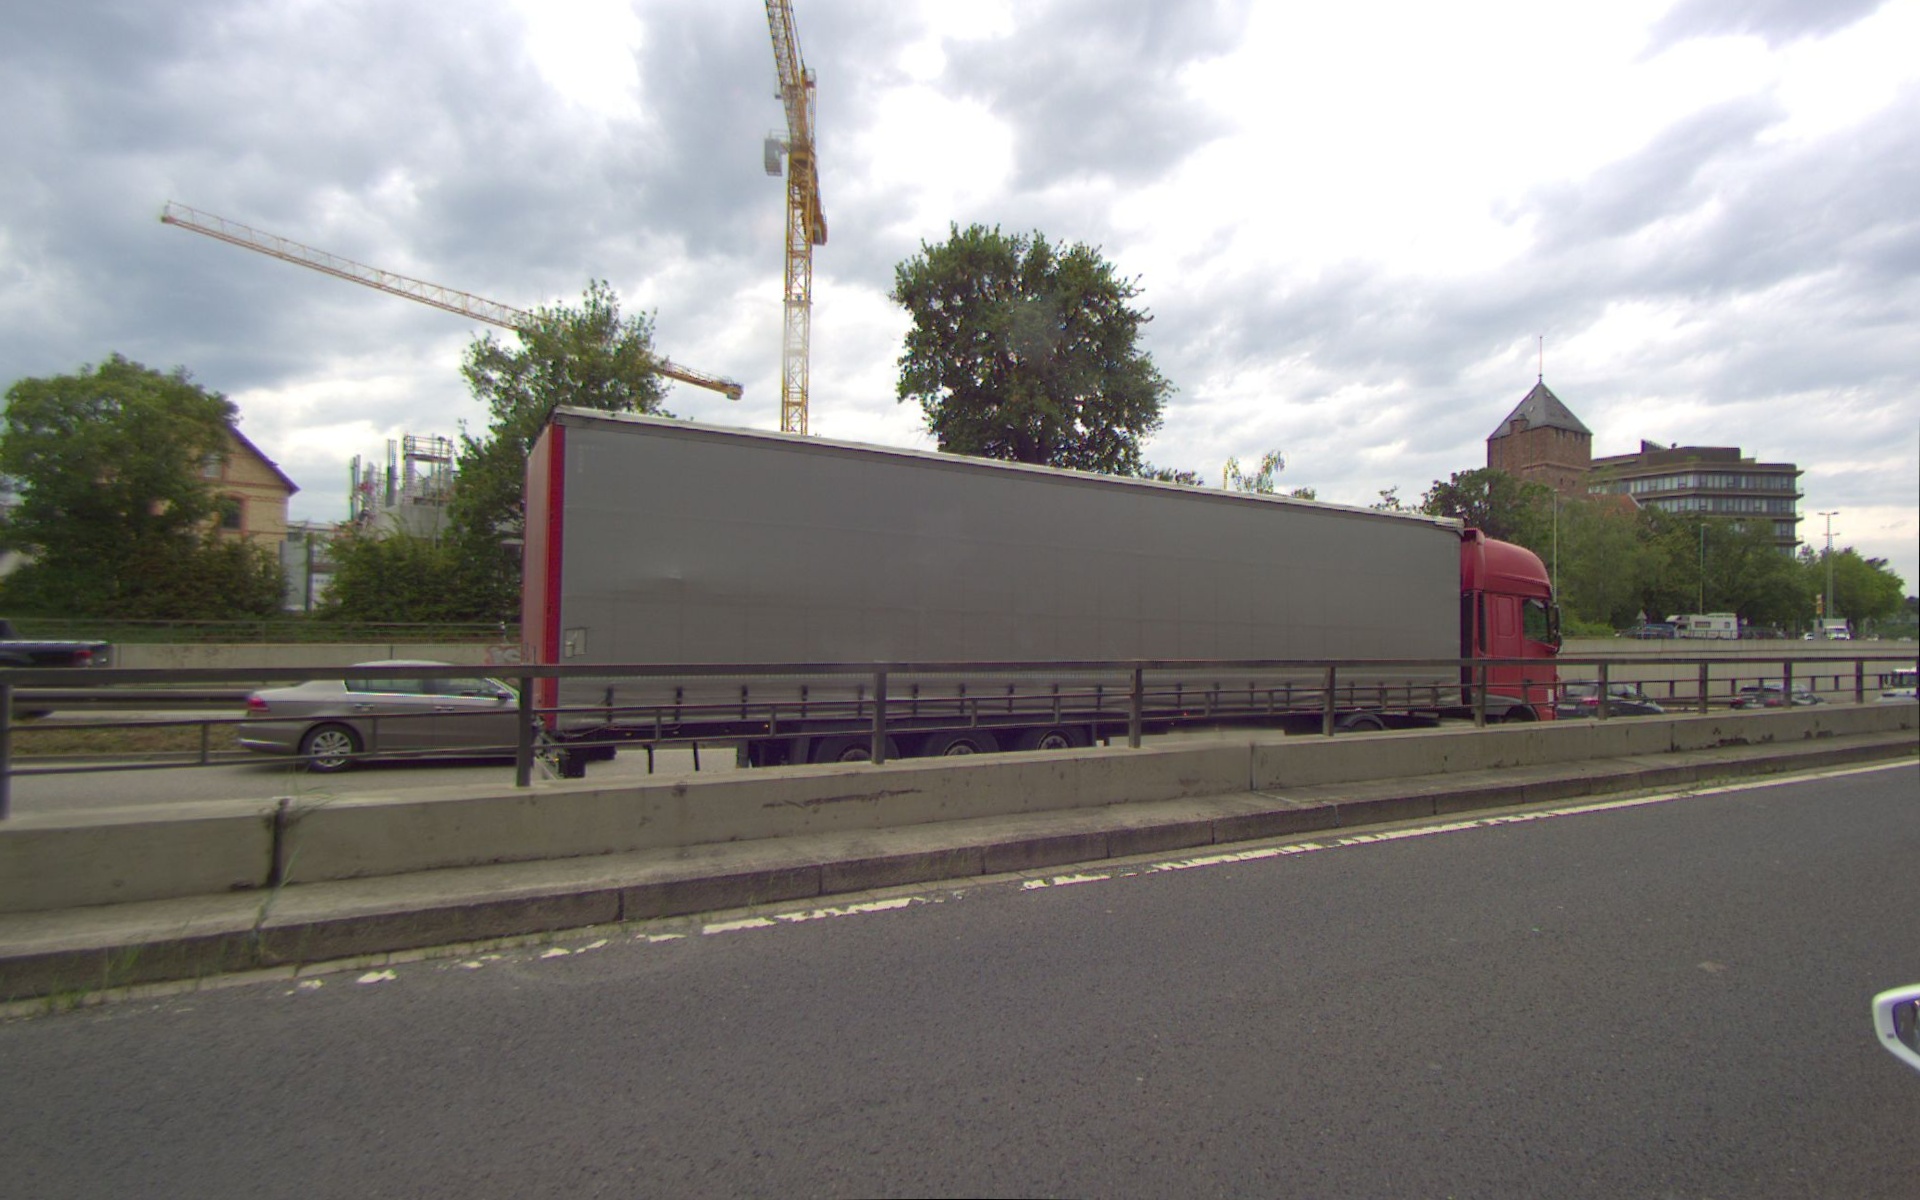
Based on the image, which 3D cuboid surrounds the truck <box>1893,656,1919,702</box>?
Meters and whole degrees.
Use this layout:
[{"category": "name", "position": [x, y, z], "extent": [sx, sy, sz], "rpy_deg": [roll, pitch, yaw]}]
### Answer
[{"category": "truck", "position": [75.263, 6.023, 77.164], "extent": [10.928, 3.396, 2.511], "rpy_deg": [2, -2, -32]}]

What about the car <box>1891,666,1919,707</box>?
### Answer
[{"category": "car", "position": [39.591, 3.498, 40.735], "extent": [3.851, 1.549, 1.616], "rpy_deg": [2, 0, -30]}]

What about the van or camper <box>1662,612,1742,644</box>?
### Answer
[{"category": "van or camper", "position": [72.515, 2.691, 98.289], "extent": [5.805, 2.847, 2.147], "rpy_deg": [2, 0, 16]}]

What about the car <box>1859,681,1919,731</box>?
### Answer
[{"category": "car", "position": [28.277, 3.100, 29.552], "extent": [3.852, 1.229, 1.647], "rpy_deg": [2, 0, -31]}]

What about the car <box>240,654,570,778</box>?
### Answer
[{"category": "car", "position": [-7.698, 1.545, 14.224], "extent": [3.850, 1.460, 1.616], "rpy_deg": [2, 0, -29]}]

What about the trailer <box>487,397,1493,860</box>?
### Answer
[{"category": "trailer", "position": [1.660, 0.496, 13.618], "extent": [14.382, 4.089, 2.639], "rpy_deg": [2, -2, -30]}]

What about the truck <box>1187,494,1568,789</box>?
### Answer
[{"category": "truck", "position": [7.006, 0.698, 16.674], "extent": [6.129, 4.090, 2.693], "rpy_deg": [2, -2, -30]}]

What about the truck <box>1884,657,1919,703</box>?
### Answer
[{"category": "truck", "position": [70.894, 5.933, 74.422], "extent": [4.271, 3.262, 2.511], "rpy_deg": [2, -2, -32]}]

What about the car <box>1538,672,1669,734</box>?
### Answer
[{"category": "car", "position": [18.611, 2.920, 29.017], "extent": [3.853, 1.549, 1.647], "rpy_deg": [2, 0, -32]}]

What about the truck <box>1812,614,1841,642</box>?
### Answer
[{"category": "truck", "position": [98.497, 3.181, 114.197], "extent": [1.991, 3.027, 7.070], "rpy_deg": [2, 0, 37]}]

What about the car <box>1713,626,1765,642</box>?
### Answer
[{"category": "car", "position": [80.834, 3.556, 104.241], "extent": [3.919, 1.460, 1.630], "rpy_deg": [2, 0, 9]}]

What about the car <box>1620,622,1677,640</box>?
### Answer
[{"category": "car", "position": [62.913, 2.795, 91.869], "extent": [3.919, 1.460, 1.630], "rpy_deg": [2, 0, 9]}]

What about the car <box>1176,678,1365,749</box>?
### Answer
[{"category": "car", "position": [6.628, 2.358, 21.394], "extent": [3.850, 1.229, 1.648], "rpy_deg": [2, 0, -29]}]

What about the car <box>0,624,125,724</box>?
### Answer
[{"category": "car", "position": [-17.003, 1.196, 16.494], "extent": [4.782, 1.573, 1.616], "rpy_deg": [2, 0, -30]}]

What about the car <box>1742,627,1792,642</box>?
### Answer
[{"category": "car", "position": [87.387, 3.686, 108.823], "extent": [3.919, 1.460, 1.630], "rpy_deg": [2, 0, 9]}]

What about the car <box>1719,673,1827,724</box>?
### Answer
[{"category": "car", "position": [28.152, 3.371, 34.773], "extent": [3.851, 1.549, 1.616], "rpy_deg": [2, 0, -30]}]
